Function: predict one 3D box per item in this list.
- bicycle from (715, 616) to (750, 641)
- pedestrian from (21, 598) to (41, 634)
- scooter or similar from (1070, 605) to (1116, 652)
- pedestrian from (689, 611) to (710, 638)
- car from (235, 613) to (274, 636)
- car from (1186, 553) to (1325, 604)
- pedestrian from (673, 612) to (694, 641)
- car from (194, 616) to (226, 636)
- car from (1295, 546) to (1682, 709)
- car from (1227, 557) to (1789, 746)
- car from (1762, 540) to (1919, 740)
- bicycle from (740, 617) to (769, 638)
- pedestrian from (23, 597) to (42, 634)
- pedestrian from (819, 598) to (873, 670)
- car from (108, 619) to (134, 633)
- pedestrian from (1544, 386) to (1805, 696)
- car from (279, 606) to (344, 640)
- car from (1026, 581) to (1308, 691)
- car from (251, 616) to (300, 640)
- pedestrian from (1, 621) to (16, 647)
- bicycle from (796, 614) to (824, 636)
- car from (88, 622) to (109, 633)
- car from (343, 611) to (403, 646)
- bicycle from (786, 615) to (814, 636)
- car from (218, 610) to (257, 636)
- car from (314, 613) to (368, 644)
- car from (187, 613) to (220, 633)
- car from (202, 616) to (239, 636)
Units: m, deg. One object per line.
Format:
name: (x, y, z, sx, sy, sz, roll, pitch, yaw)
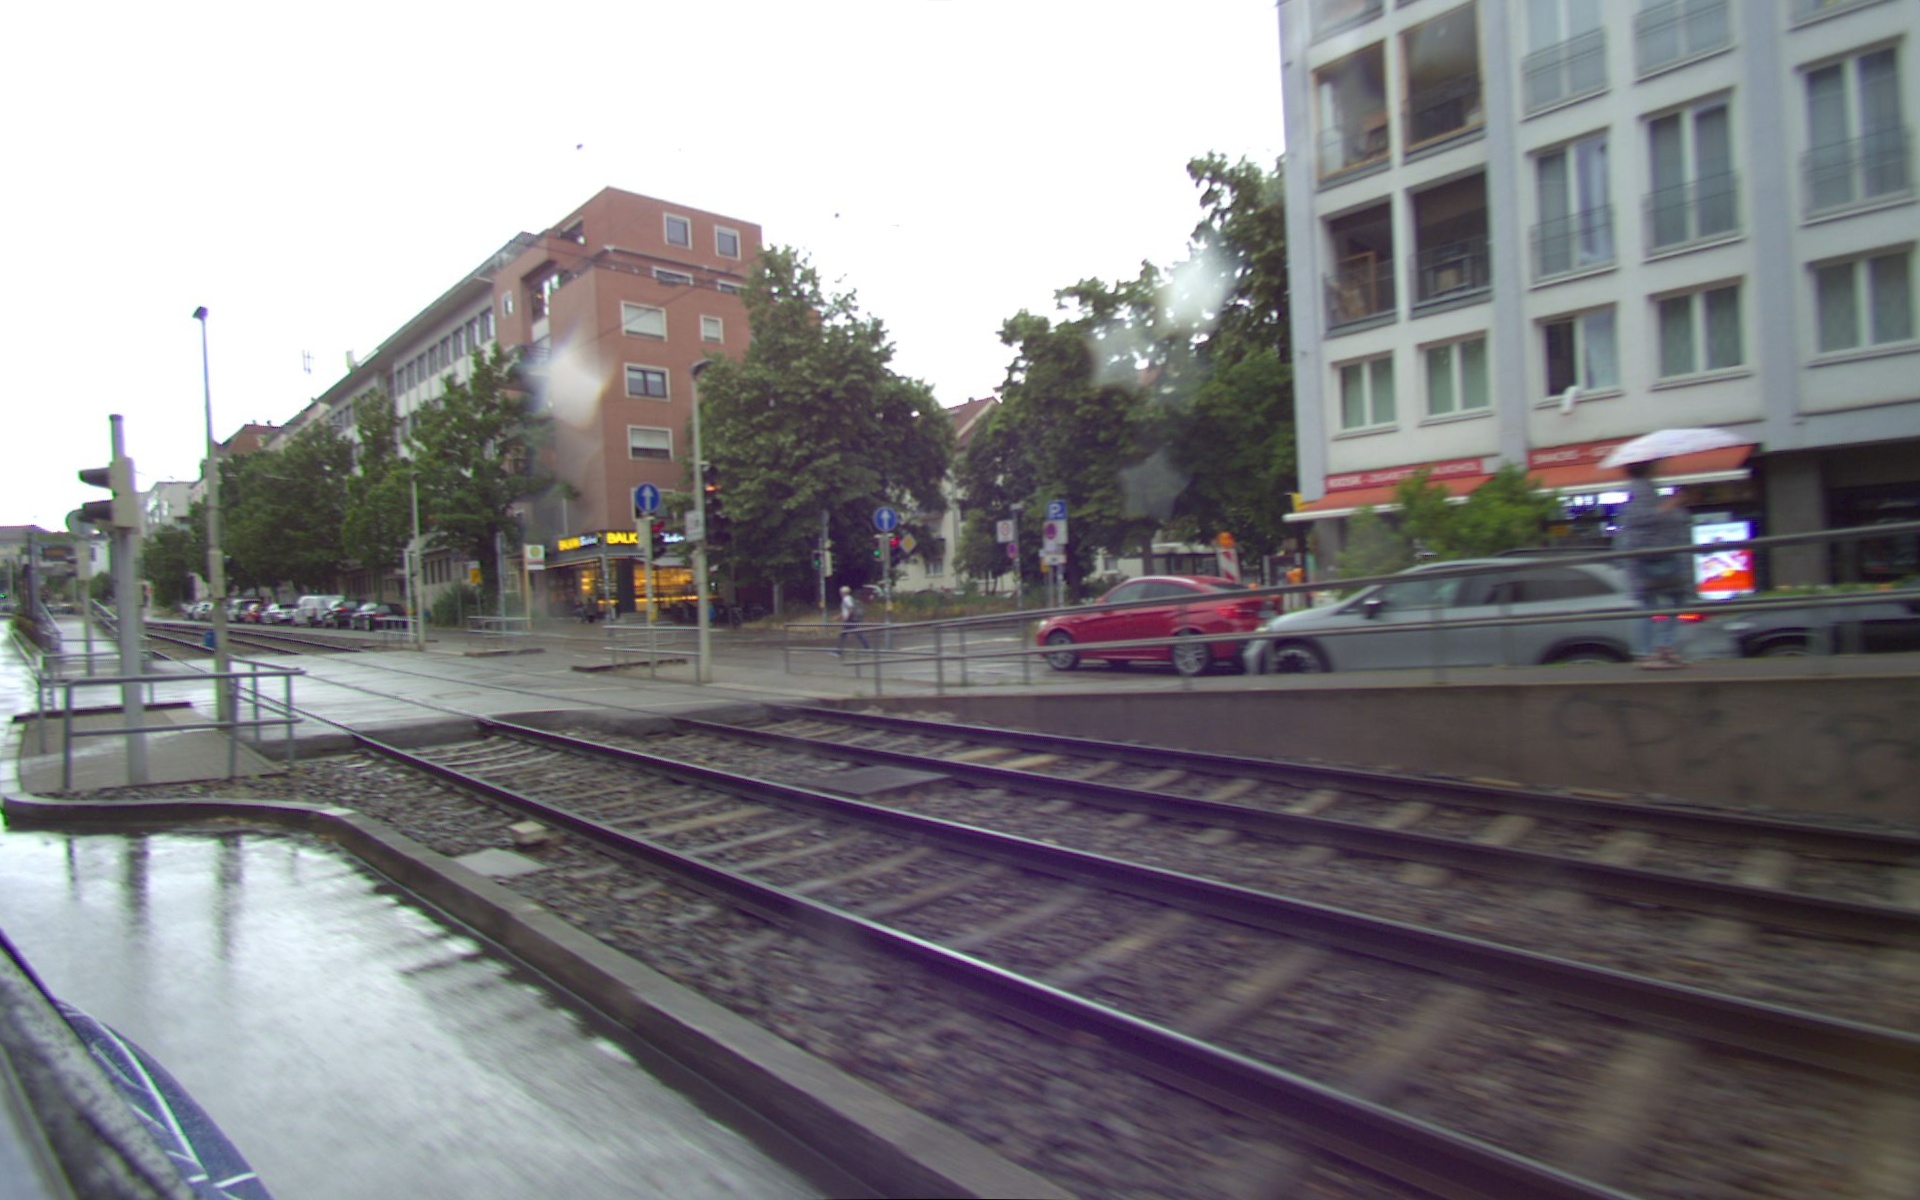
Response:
bicycle: (-9.166, 1.146, 40.778, 0.474, 0.966, 1.874, -1, 0, -44)
pedestrian: (-40.865, 0.695, 44.530, 0.701, 1.569, 0.577, -1, 0, 44)
scooter or similar: (3.462, 0.734, 26.400, 0.384, 1.200, 1.213, -1, 0, -43)
pedestrian: (-11.519, 1.073, 44.745, 0.602, 1.186, 0.675, -2, 0, 14)
car: (-50.477, 1.734, 72.385, 3.806, 1.550, 1.620, -1, 1, 45)
car: (16.055, -1.107, 55.389, 2.386, 2.553, 7.107, -2, 0, -42)
pedestrian: (-11.877, 1.134, 43.517, 0.667, 1.186, 0.609, -2, 0, -39)
car: (-62.211, 2.098, 83.929, 1.619, 1.549, 4.026, -2, 1, -44)
car: (6.985, 0.338, 13.695, 4.321, 1.872, 1.688, -2, 0, 44)
car: (5.590, 0.460, 10.945, 1.786, 1.590, 5.025, -2, 0, -43)
car: (10.306, 0.330, 9.346, 4.381, 1.872, 1.782, -2, 0, 44)
bicycle: (-8.409, 1.120, 41.372, 0.335, 0.822, 1.648, -1, 0, -44)
pedestrian: (-41.313, 0.690, 45.075, 0.701, 1.621, 0.577, -1, 0, 44)
pedestrian: (-2.825, 0.826, 25.077, 0.985, 1.709, 0.811, -1, 2, 38)
car: (-92.119, 2.863, 111.087, 4.531, 1.473, 1.673, -1, 1, 43)
pedestrian: (5.292, -0.392, 7.512, 1.103, 2.029, 1.384, -2, 0, -44)
car: (-38.435, 1.365, 59.940, 5.256, 1.858, 1.887, -1, 1, 42)
car: (3.391, 0.590, 17.343, 1.705, 1.624, 4.557, -2, 0, -43)
car: (-44.916, 1.823, 66.373, 4.531, 1.473, 1.673, -1, 1, 43)
pedestrian: (-66.844, 2.409, 71.109, 0.882, 1.775, 0.645, -1, 0, 42)
bicycle: (-6.442, 1.052, 43.314, 0.335, 0.910, 1.649, -1, 0, -41)
car: (-110.097, 3.479, 129.323, 3.737, 1.348, 1.620, -1, 1, 44)
car: (-29.742, 1.390, 51.261, 1.619, 1.636, 4.375, -2, 1, -44)
bicycle: (-6.785, 1.077, 42.936, 0.333, 0.849, 1.649, -1, 0, -41)
car: (-54.499, 1.737, 76.292, 4.434, 1.830, 1.655, -1, 1, 45)
car: (-34.054, 1.547, 55.592, 1.619, 1.548, 4.375, -2, 1, -44)
car: (-66.344, 1.990, 88.716, 4.340, 1.596, 1.639, -1, 1, 45)
car: (-58.609, 2.049, 80.128, 4.732, 1.451, 1.620, -1, 1, 45)
